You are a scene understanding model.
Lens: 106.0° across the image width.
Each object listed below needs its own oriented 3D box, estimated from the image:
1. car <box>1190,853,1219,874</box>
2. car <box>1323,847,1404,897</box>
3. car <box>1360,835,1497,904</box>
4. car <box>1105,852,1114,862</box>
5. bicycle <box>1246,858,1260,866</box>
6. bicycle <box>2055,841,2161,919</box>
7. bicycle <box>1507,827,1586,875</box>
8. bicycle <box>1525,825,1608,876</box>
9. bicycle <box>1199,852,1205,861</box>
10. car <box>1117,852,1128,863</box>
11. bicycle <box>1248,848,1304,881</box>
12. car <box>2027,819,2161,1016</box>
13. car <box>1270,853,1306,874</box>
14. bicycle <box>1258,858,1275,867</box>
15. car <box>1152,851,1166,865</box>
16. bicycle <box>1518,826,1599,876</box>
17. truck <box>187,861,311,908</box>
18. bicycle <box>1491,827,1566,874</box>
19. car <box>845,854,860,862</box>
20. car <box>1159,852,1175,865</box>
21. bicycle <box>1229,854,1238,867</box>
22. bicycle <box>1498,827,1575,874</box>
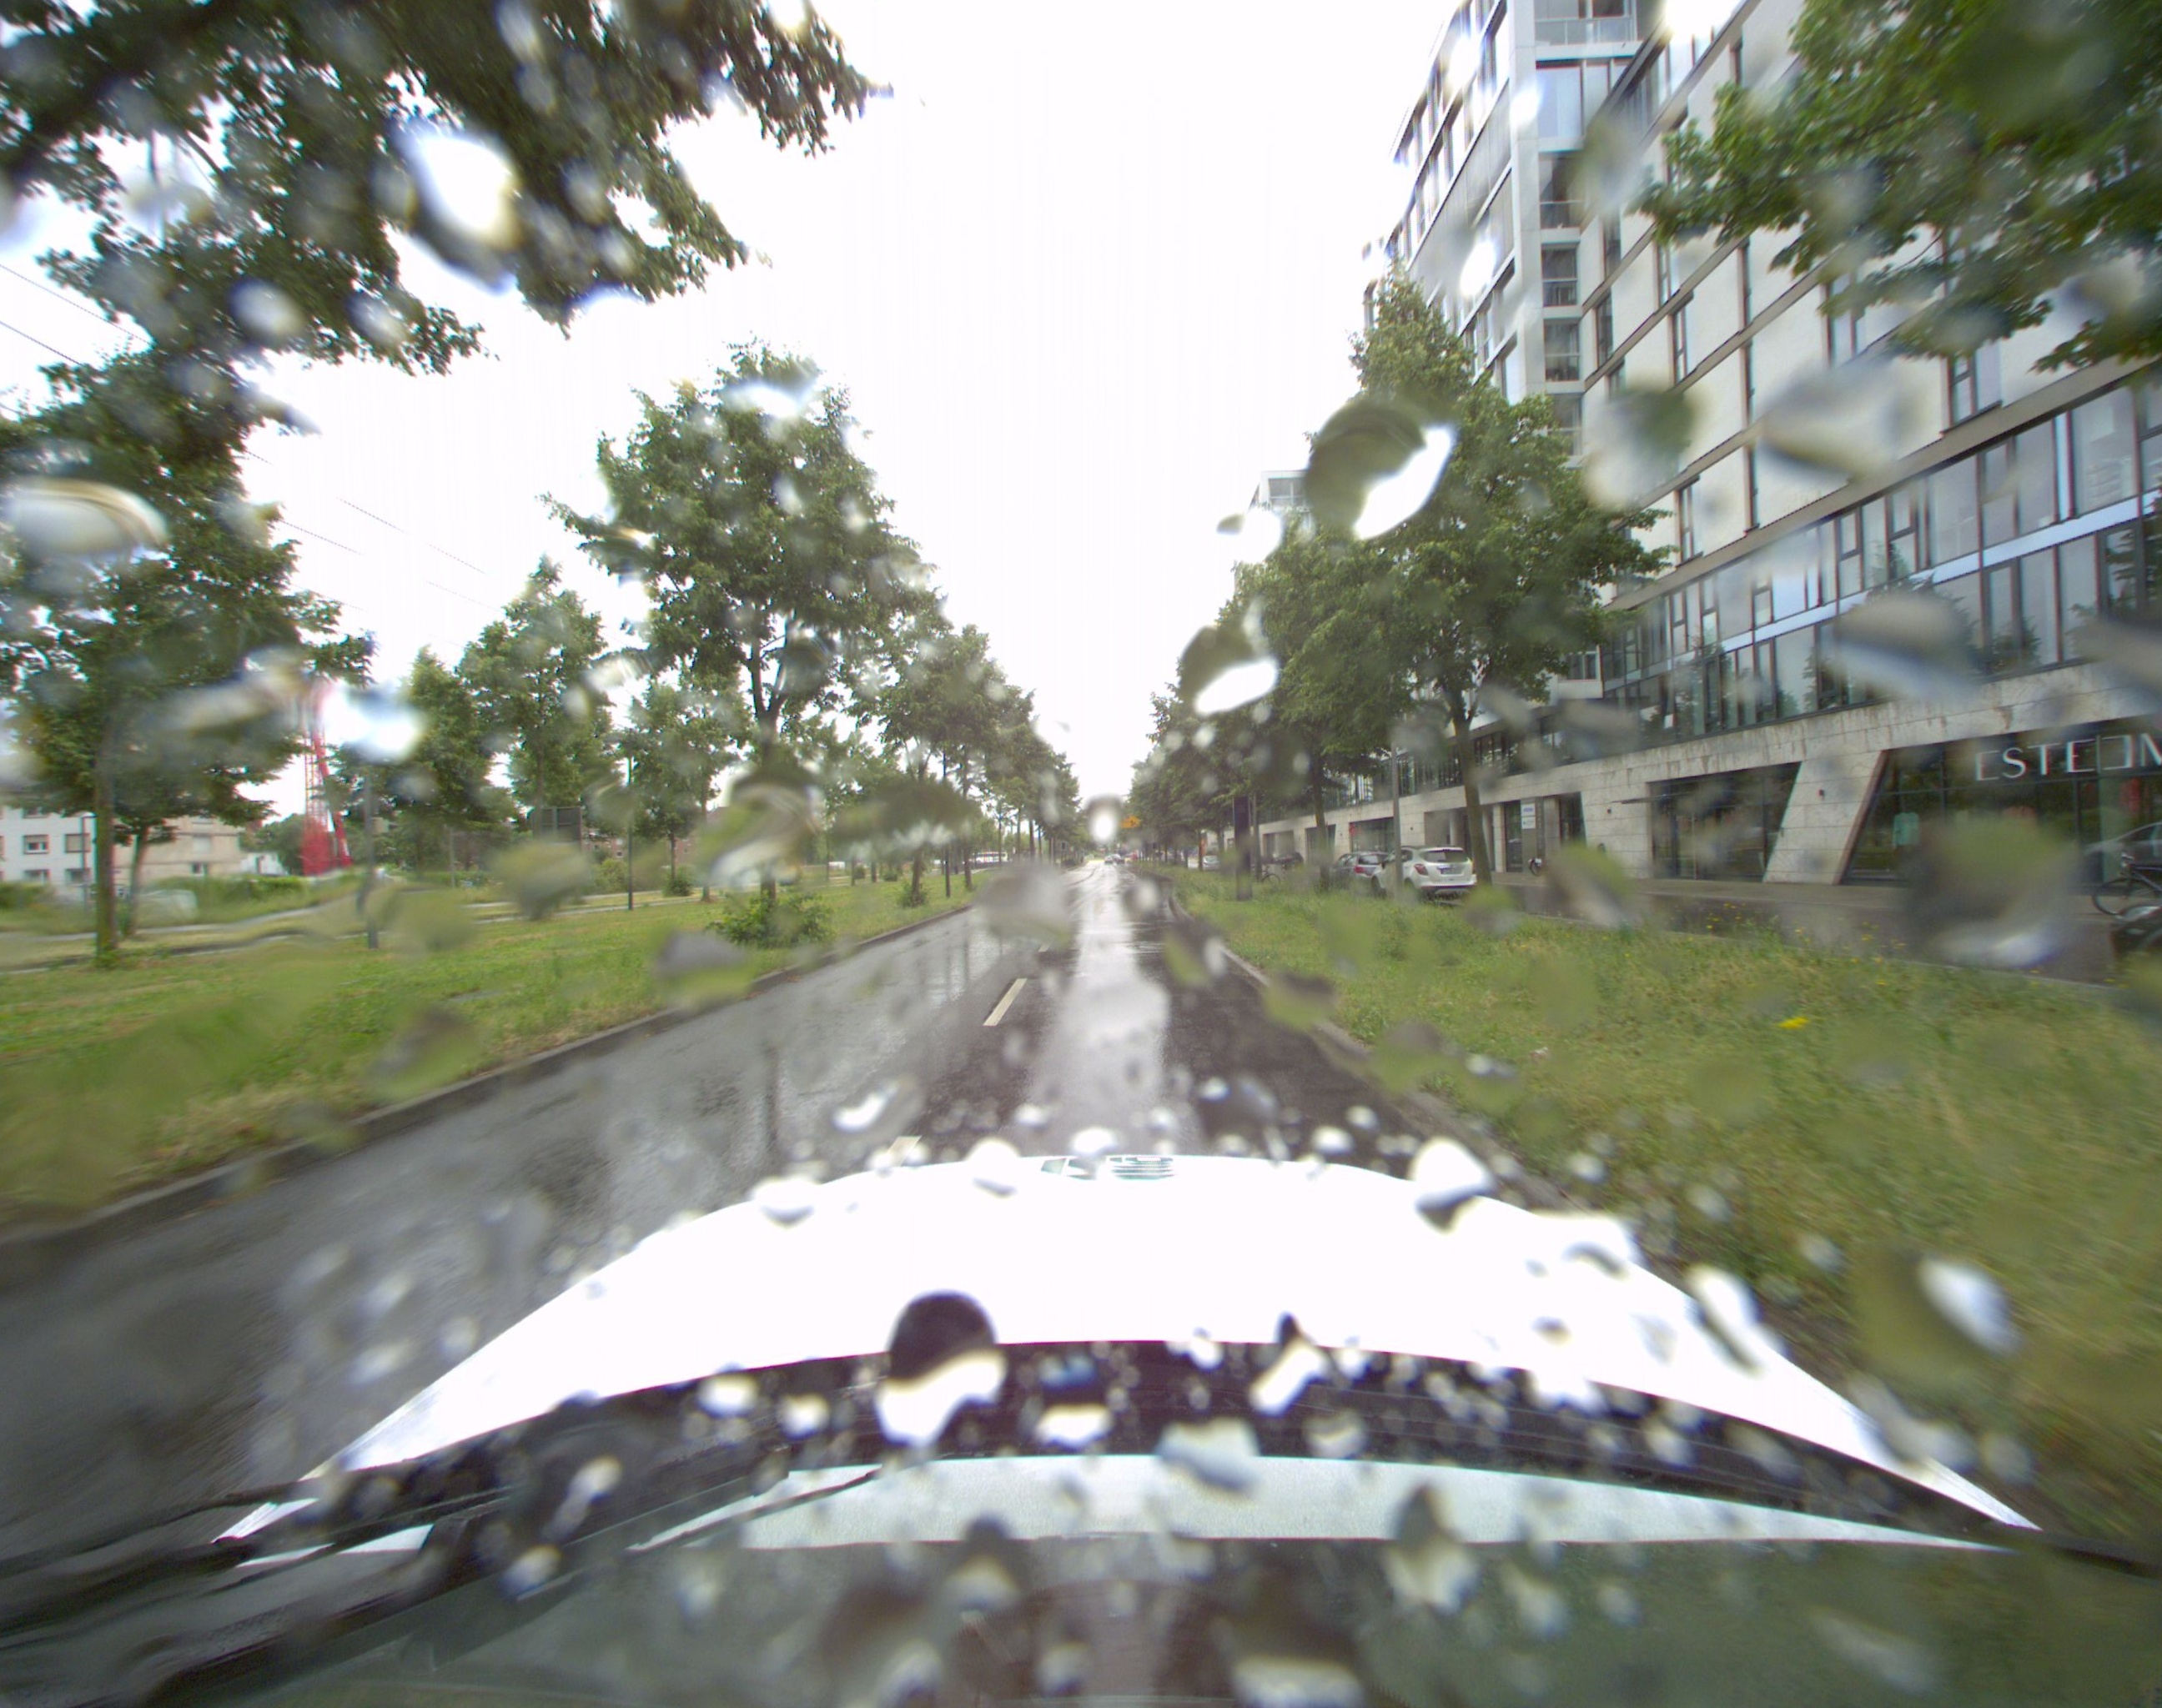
[{"bbox_3d":[10.404,0.799,68.744,1.874,1.505,4.726,-2,2,2],"label":"car"},{"bbox_3d":[9.662,0.581,28.091,1.619,1.490,3.658,-2,2,2],"label":"car"},{"bbox_3d":[9.643,0.346,23.084,1.986,1.669,4.726,-2,2,2],"label":"car"},{"bbox_3d":[6.226,0.567,175.843,1.881,2.013,4.003,-2,2,2],"label":"car"},{"bbox_3d":[21.146,0.999,100.082,1.686,1.028,0.423,-2,-1,3],"label":"bicycle"},{"bbox_3d":[16.027,0.382,12.184,0.516,1.130,2.066,-2,-1,4],"label":"bicycle"},{"bbox_3d":[18.763,-0.114,32.879,2.666,1.860,0.708,-2,0,6],"label":"bicycle"},{"bbox_3d":[18.654,-0.139,31.332,2.666,1.860,0.708,-2,0,6],"label":"bicycle"},{"bbox_3d":[22.332,0.499,150.618,0.663,1.534,2.766,-2,2,2],"label":"bicycle"},{"bbox_3d":[7.812,0.656,154.177,1.933,2.013,4.003,-2,2,2],"label":"car"},{"bbox_3d":[7.477,0.393,31.297,2.028,1.196,0.491,-2,-1,1],"label":"bicycle"},{"bbox_3d":[9.374,0.442,4.920,1.953,1.513,4.475,-2,-1,-5],"label":"car"},{"bbox_3d":[17.669,0.776,69.756,1.985,1.501,5.039,-6,0,4],"label":"car"},{"bbox_3d":[21.284,0.988,93.361,1.798,1.028,0.402,-2,-1,3],"label":"bicycle"},{"bbox_3d":[13.037,0.696,136.293,2.113,2.274,4.566,-2,-1,1],"label":"car"},{"bbox_3d":[18.786,-0.107,32.090,2.666,1.860,0.708,-2,0,6],"label":"bicycle"},{"bbox_3d":[-112.124,3.962,110.335,6.201,5.395,13.228,-2,2,-19],"label":"truck"},{"bbox_3d":[18.895,-0.135,34.415,2.666,1.860,0.708,-2,0,6],"label":"bicycle"},{"bbox_3d":[-56.746,0.973,202.227,3.546,1.738,1.693,-2,2,-23],"label":"car"},{"bbox_3d":[12.358,0.722,117.818,1.899,1.791,4.689,-2,0,1],"label":"car"},{"bbox_3d":[22.008,0.948,117.628,0.769,1.722,3.121,-2,2,1],"label":"bicycle"},{"bbox_3d":[18.810,-0.134,33.670,2.666,1.860,0.708,-2,0,6],"label":"bicycle"}]
